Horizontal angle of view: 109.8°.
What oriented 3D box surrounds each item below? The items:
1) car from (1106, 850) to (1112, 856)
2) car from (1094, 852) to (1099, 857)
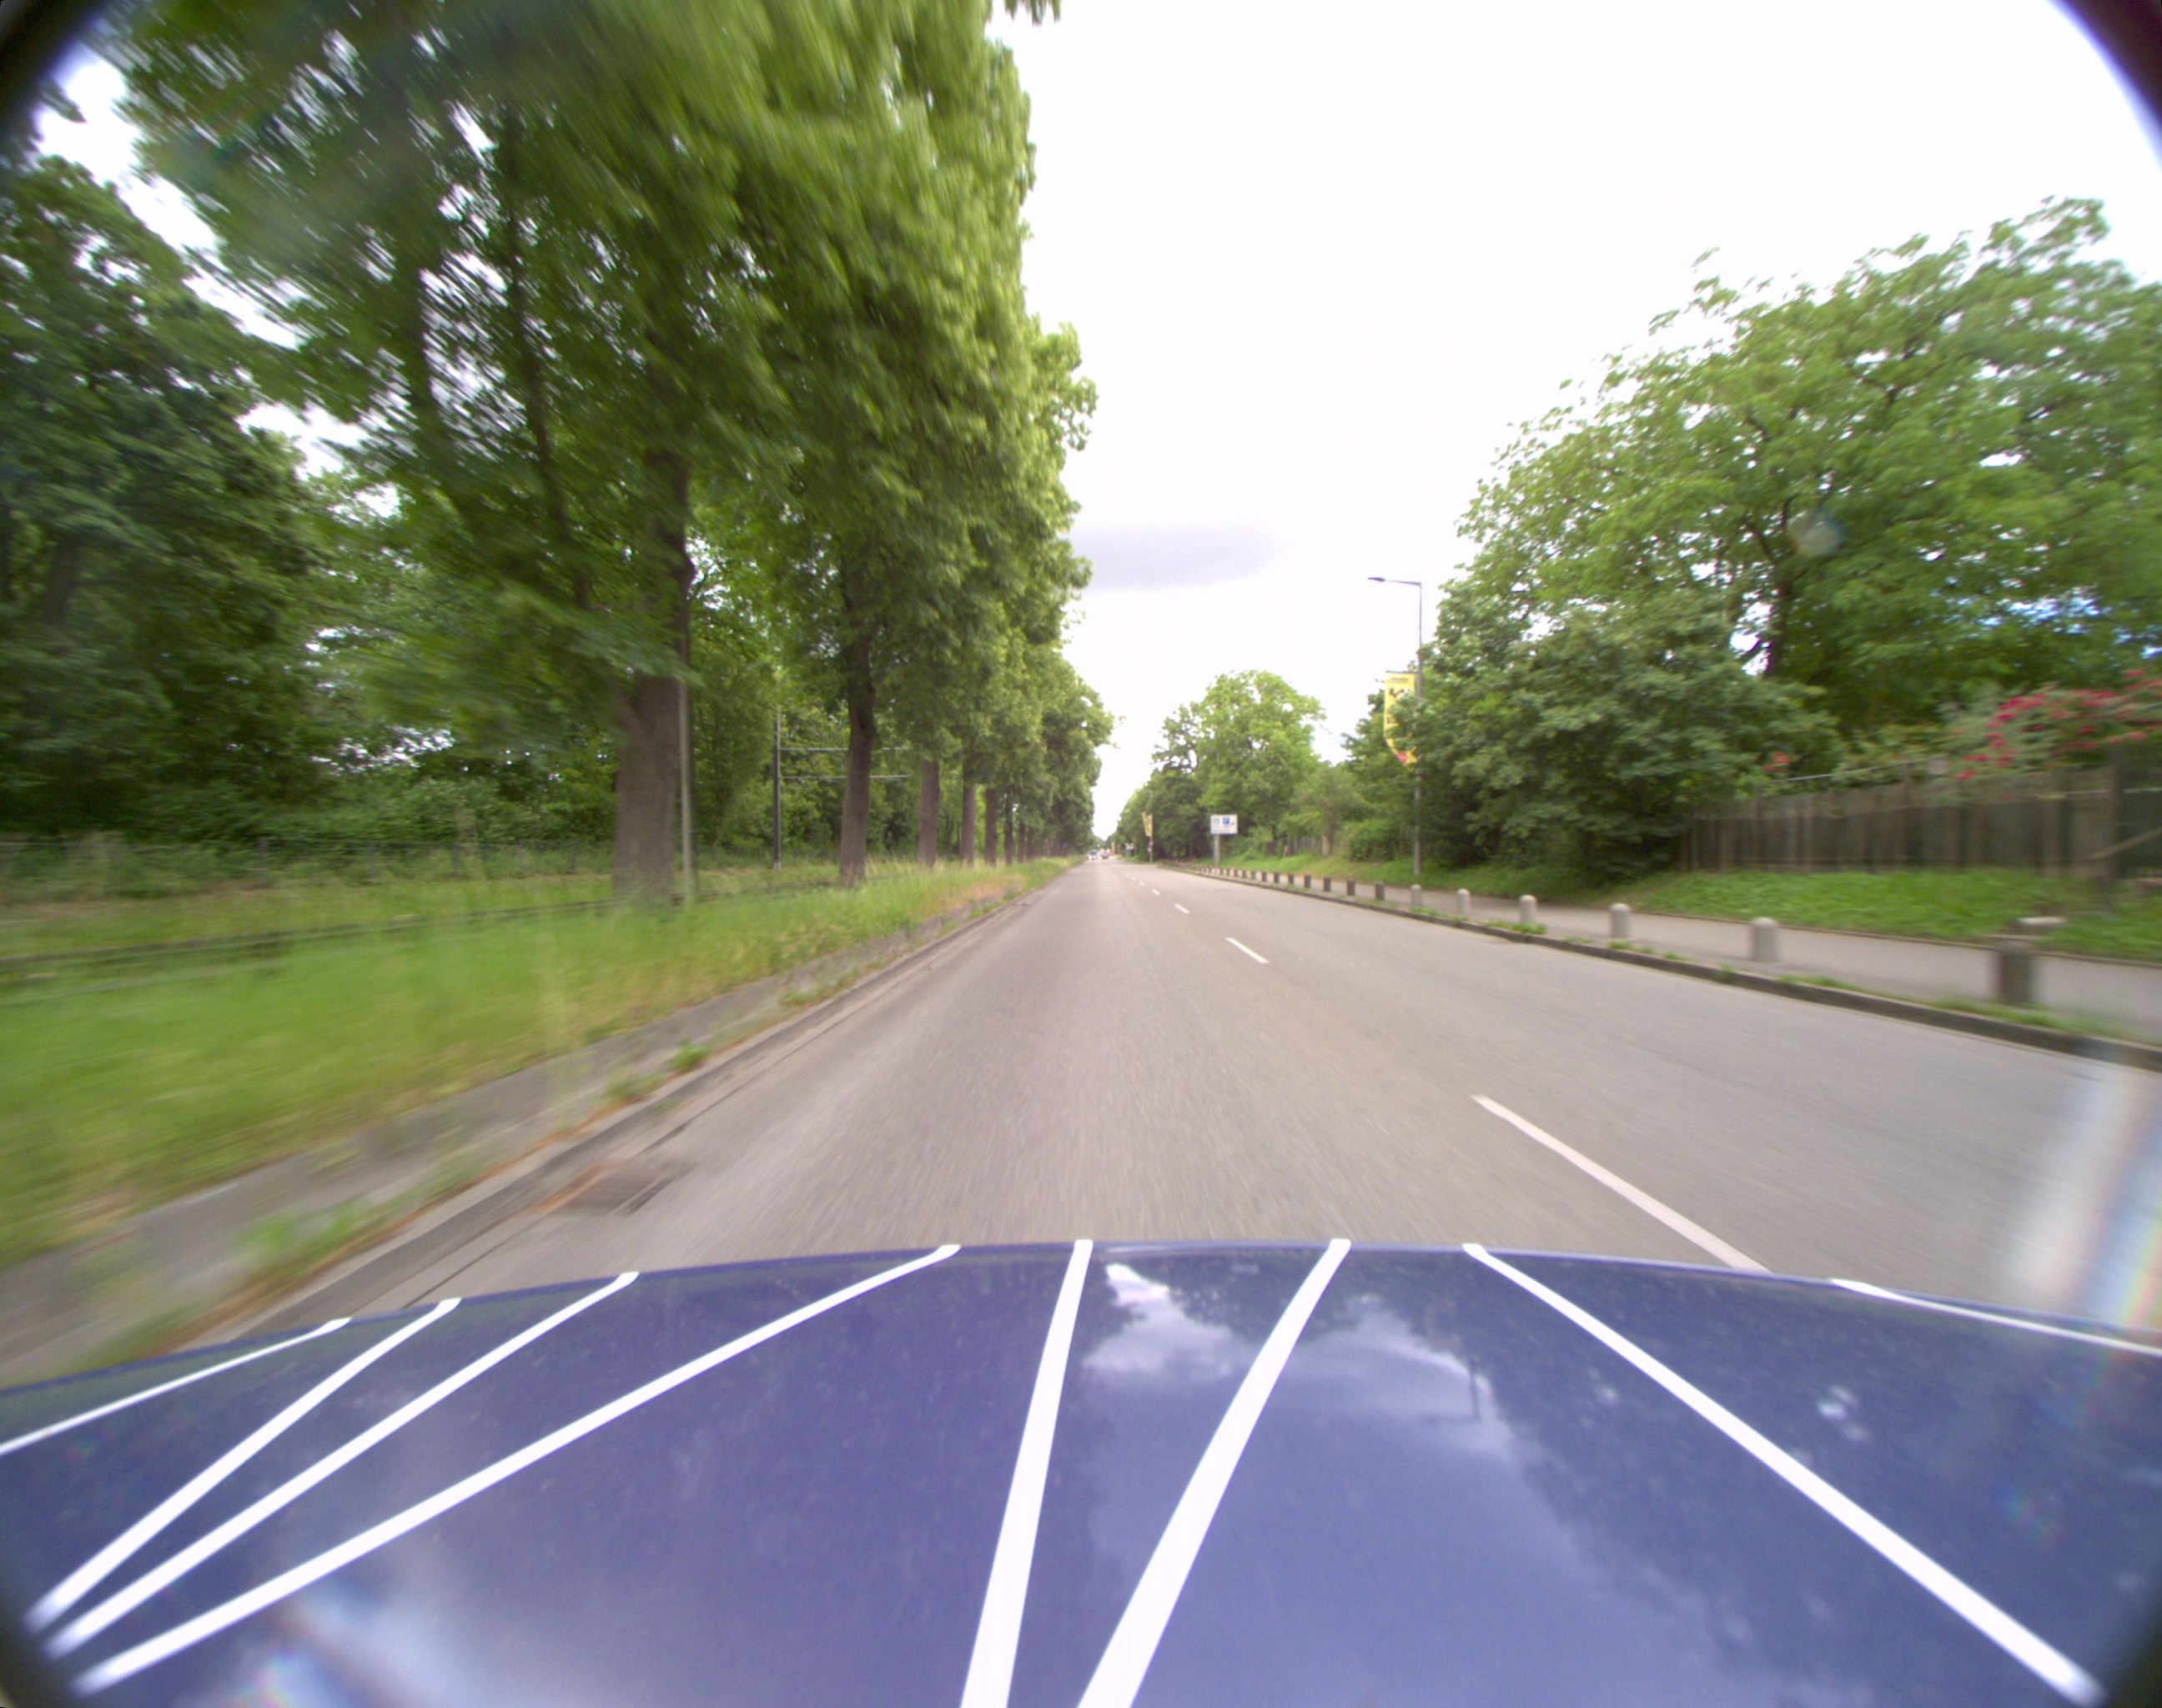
[{"bbox_3d":[8.775,-0.332,241.758,1.762,1.601,4.000,-2,1,1],"label":"car"},{"bbox_3d":[5.186,0.259,251.902,1.762,1.601,4.000,-2,1,1],"label":"car"}]
